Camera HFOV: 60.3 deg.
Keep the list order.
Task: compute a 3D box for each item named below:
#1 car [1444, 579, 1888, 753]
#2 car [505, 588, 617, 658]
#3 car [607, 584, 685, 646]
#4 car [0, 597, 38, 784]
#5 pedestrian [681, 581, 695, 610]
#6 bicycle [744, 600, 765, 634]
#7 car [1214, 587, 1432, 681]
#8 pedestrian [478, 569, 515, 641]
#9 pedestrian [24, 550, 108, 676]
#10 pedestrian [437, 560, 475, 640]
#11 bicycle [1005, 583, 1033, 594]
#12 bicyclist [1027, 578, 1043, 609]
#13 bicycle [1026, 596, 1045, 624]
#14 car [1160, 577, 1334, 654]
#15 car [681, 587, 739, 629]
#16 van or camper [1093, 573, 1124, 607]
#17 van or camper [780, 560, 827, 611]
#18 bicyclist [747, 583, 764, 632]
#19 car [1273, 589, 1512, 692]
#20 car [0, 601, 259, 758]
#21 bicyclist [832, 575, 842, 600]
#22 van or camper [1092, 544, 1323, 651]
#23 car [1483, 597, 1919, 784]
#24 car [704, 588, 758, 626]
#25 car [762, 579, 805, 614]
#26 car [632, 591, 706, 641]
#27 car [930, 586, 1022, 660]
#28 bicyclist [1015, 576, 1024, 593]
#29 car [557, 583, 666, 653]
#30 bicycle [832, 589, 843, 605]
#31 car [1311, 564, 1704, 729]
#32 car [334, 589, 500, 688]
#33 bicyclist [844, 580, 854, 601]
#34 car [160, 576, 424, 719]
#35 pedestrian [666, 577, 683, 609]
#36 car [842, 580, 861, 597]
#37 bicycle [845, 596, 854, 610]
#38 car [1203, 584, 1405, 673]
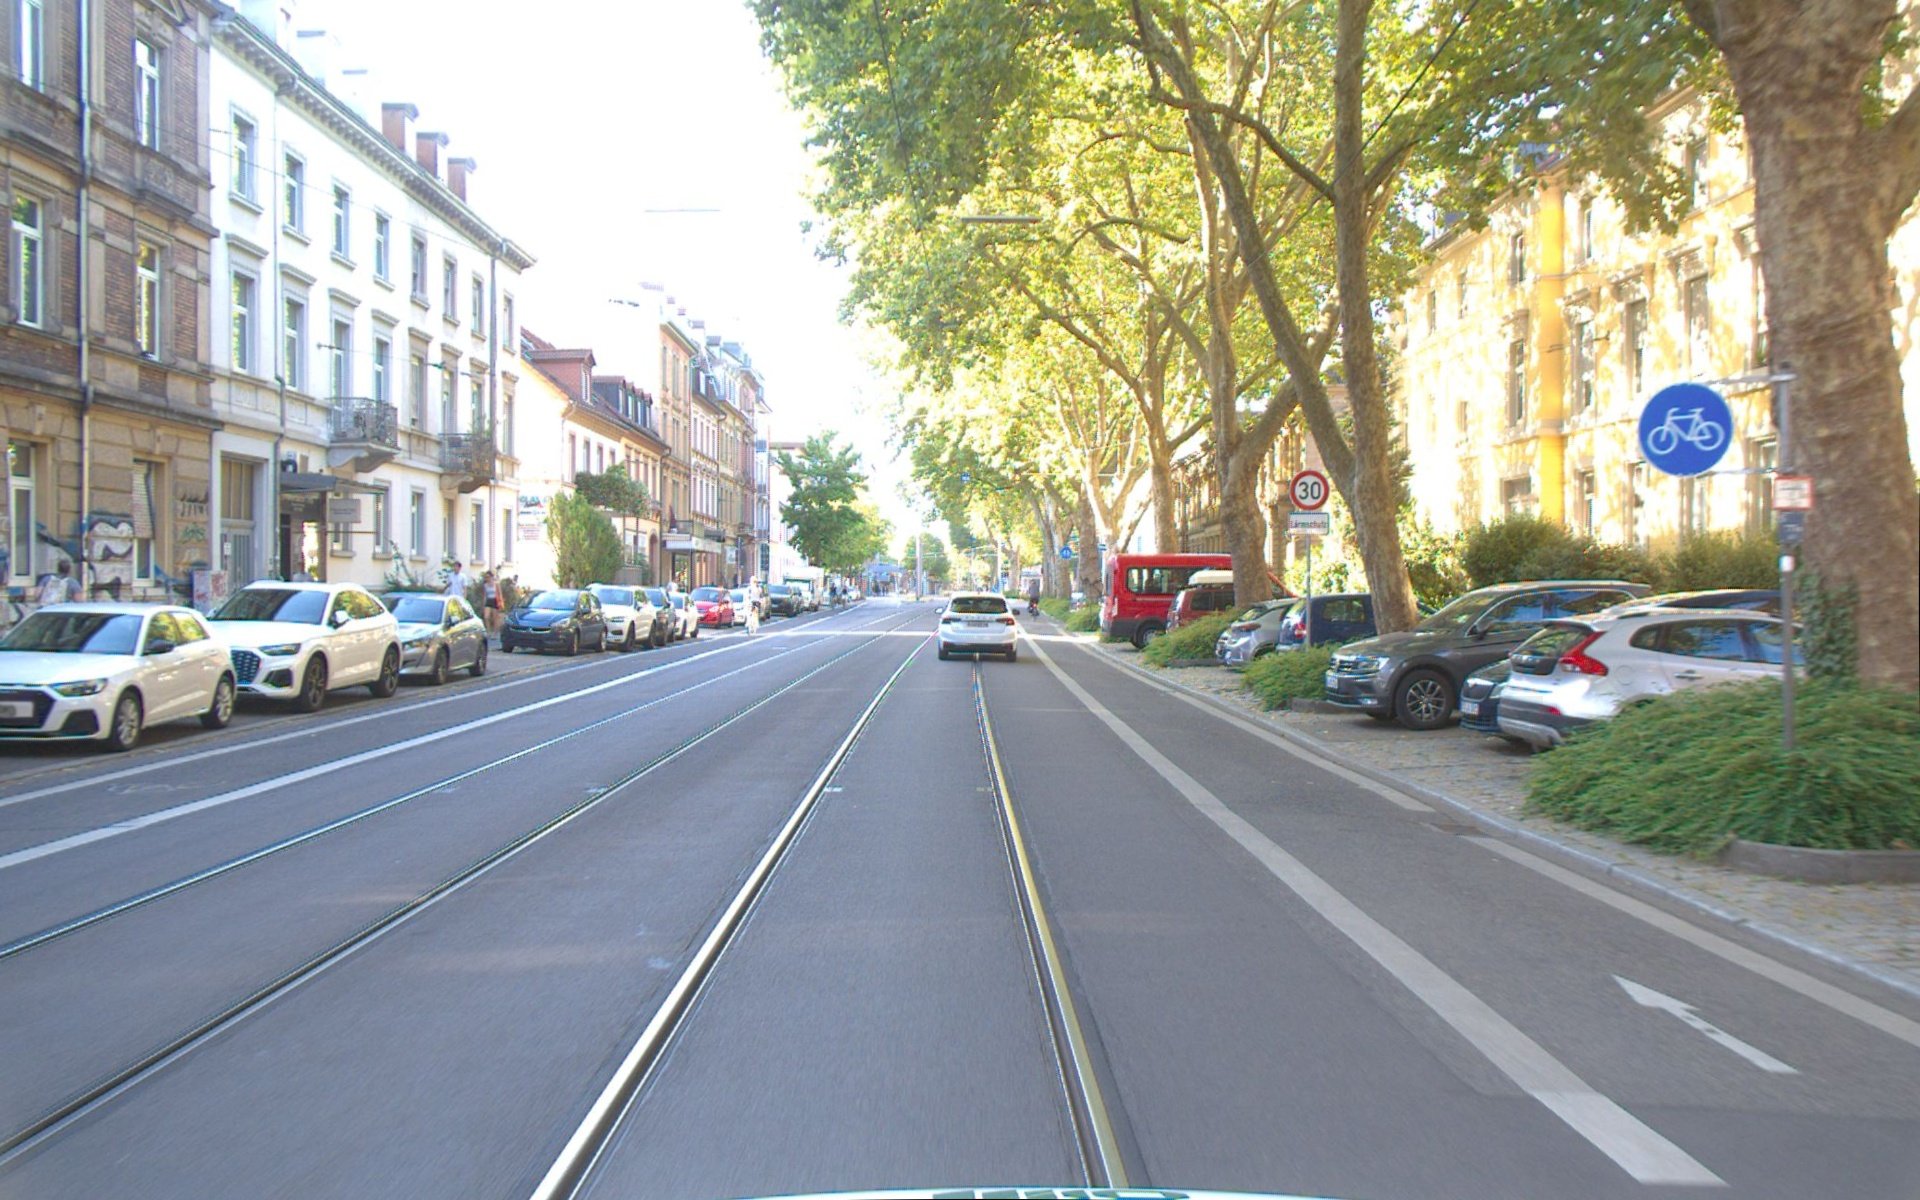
[{"bbox_3d":[7.321,0.651,17.381,3.947,1.672,1.681,-1,0,-3],"label":"car"},{"bbox_3d":[-9.229,0.490,38.516,1.521,1.542,3.925,0,0,2],"label":"car"},{"bbox_3d":[-9.269,0.398,49.127,1.820,1.733,4.654,0,0,-5],"label":"car"},{"bbox_3d":[-9.018,0.768,12.297,1.705,1.589,4.785,1,0,-2],"label":"car"},{"bbox_3d":[-14.027,-0.252,85.284,0.625,1.486,0.654,1,0,-16],"label":"pedestrian"},{"bbox_3d":[-6.960,0.567,56.089,0.471,1.105,1.846,0,0,1],"label":"bicycle"},{"bbox_3d":[6.464,0.583,29.701,3.522,1.544,1.693,-2,0,-1],"label":"car"},{"bbox_3d":[-11.954,0.121,42.662,0.744,1.853,0.829,0,0,-3],"label":"pedestrian"},{"bbox_3d":[-12.278,0.176,22.719,0.650,1.694,0.767,1,0,31],"label":"pedestrian"},{"bbox_3d":[-13.003,-0.001,42.711,0.744,2.049,0.829,0,0,-2],"label":"pedestrian"},{"bbox_3d":[5.807,-1.148,162.672,2.711,1.017,0.593,1,0,14],"label":"bicycle"},{"bbox_3d":[3.262,-0.284,72.207,0.665,1.362,0.525,1,0,0],"label":"bicyclist"},{"bbox_3d":[3.264,0.426,71.793,0.666,1.175,2.964,1,0,0],"label":"bicycle"},{"bbox_3d":[6.780,0.378,39.352,3.742,1.678,1.766,-2,-1,-3],"label":"car"},{"bbox_3d":[-9.711,0.281,64.361,1.536,1.590,3.450,0,0,4],"label":"car"},{"bbox_3d":[11.127,-0.739,124.478,1.985,2.507,5.109,1,0,2],"label":"van or camper"},{"bbox_3d":[-10.311,-0.959,109.487,2.171,3.195,7.115,1,0,1],"label":"van or camper"},{"bbox_3d":[-6.957,0.244,56.217,0.463,1.664,0.800,0,0,0],"label":"bicyclist"},{"bbox_3d":[7.048,0.655,27.167,3.521,1.627,1.541,0,-1,0],"label":"car"},{"bbox_3d":[-9.090,0.761,17.727,1.666,1.445,3.996,1,0,-4],"label":"car"},{"bbox_3d":[-8.252,-0.856,111.234,0.524,1.663,0.897,-2,0,1],"label":"bicyclist"},{"bbox_3d":[6.527,-0.090,44.011,5.698,2.563,2.287,-2,1,-3],"label":"van or camper"},{"bbox_3d":[6.941,0.763,14.841,3.946,1.506,1.681,-1,0,-2],"label":"car"},{"bbox_3d":[-9.636,0.272,69.925,1.790,1.529,4.686,1,0,-2],"label":"car"},{"bbox_3d":[-9.722,-0.209,91.529,1.925,1.812,4.936,3,0,-2],"label":"car"},{"bbox_3d":[-9.481,0.487,54.219,1.652,1.502,4.257,1,0,0],"label":"car"},{"bbox_3d":[0.293,0.464,36.182,1.805,1.506,3.836,1,0,-2],"label":"car"},{"bbox_3d":[5.845,-1.522,162.678,0.721,1.617,0.587,0,0,12],"label":"bicyclist"},{"bbox_3d":[-9.073,0.421,43.437,1.818,1.733,4.763,0,0,1],"label":"car"},{"bbox_3d":[-8.222,-0.216,111.137,0.474,1.065,2.040,-2,0,2],"label":"bicycle"},{"bbox_3d":[6.664,0.536,20.407,4.177,1.749,1.848,-3,0,-3],"label":"car"},{"bbox_3d":[-9.220,0.603,28.411,1.629,1.547,4.062,1,0,-3],"label":"car"},{"bbox_3d":[-7.856,-0.670,116.833,0.625,1.529,1.070,-1,0,1],"label":"bicyclist"},{"bbox_3d":[-9.130,0.587,23.075,1.750,1.753,4.718,1,0,0],"label":"car"},{"bbox_3d":[-14.704,-0.356,85.056,0.759,1.662,0.654,1,0,-16],"label":"pedestrian"},{"bbox_3d":[-11.346,-1.237,173.175,1.757,1.756,3.783,1,0,-2],"label":"car"},{"bbox_3d":[-7.815,0.213,116.993,0.488,0.959,1.922,-2,0,2],"label":"bicycle"},{"bbox_3d":[6.762,0.541,32.765,3.596,1.550,1.693,-2,1,-1],"label":"car"}]
